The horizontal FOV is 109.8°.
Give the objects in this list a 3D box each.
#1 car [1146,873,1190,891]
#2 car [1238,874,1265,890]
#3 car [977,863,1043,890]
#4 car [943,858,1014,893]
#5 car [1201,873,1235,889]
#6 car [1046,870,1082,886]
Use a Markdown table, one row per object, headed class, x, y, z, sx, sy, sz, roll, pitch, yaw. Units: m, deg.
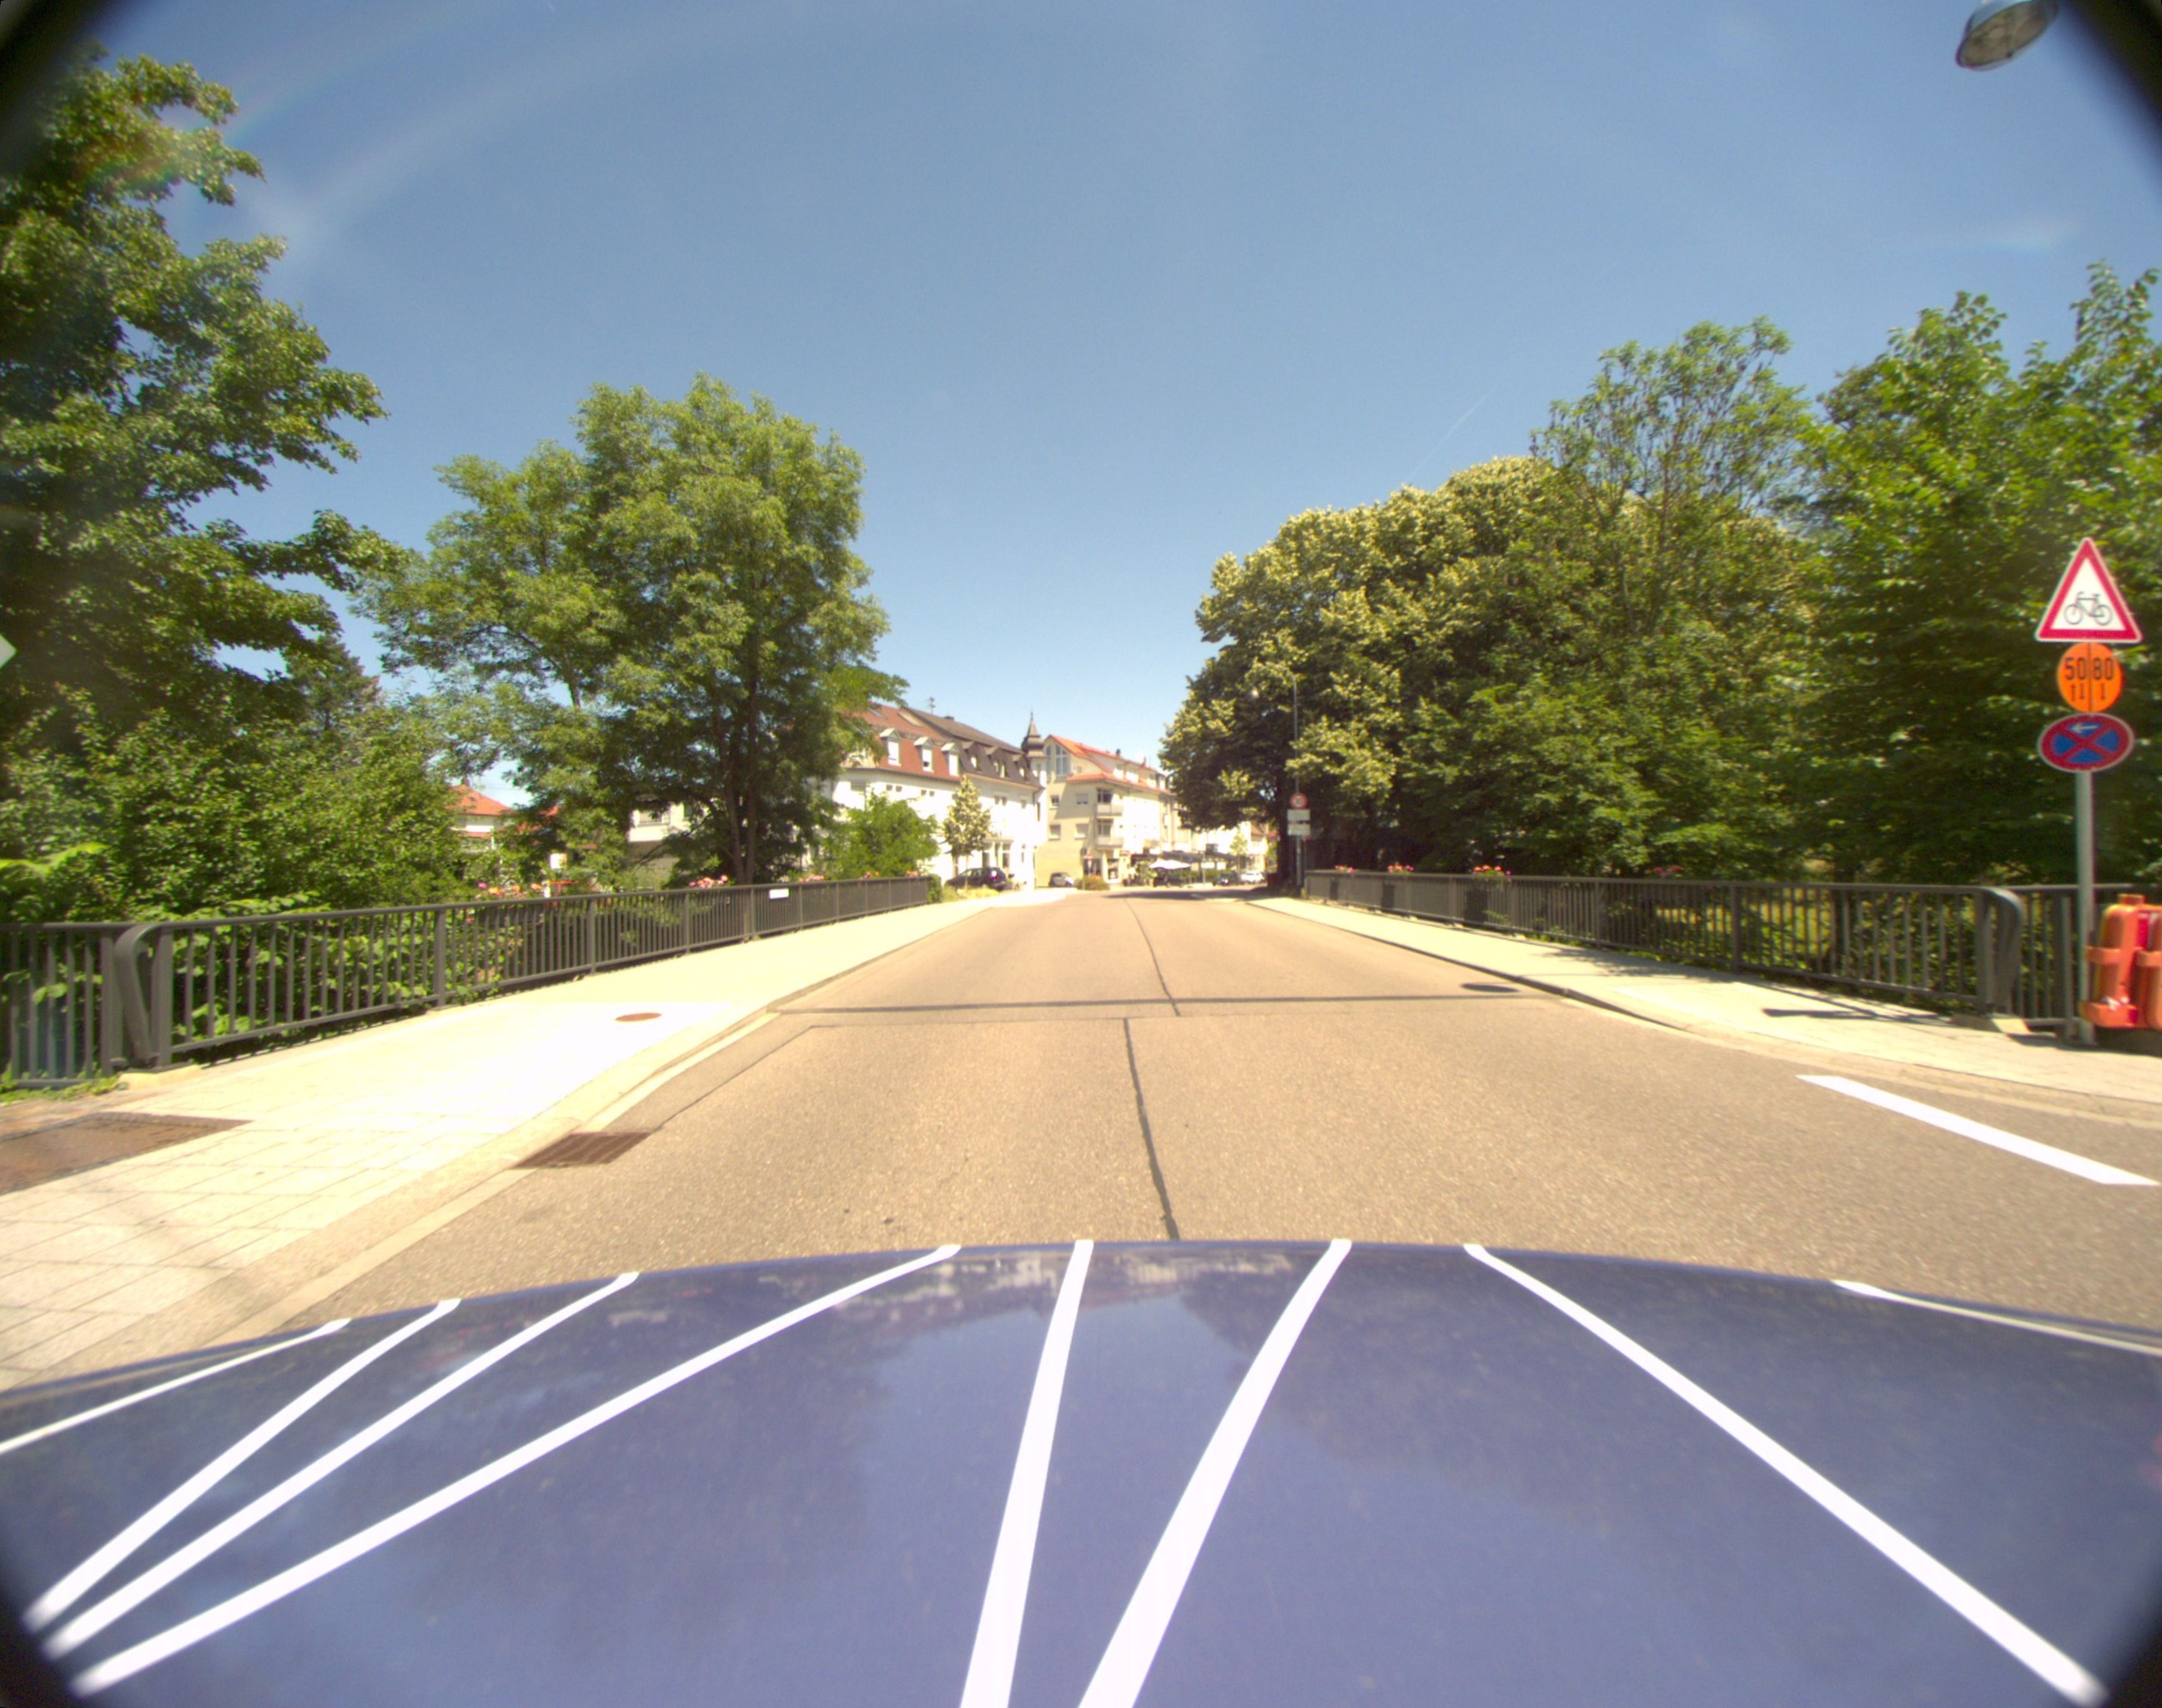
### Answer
| class | x | y | z | sx | sy | sz | roll | pitch | yaw |
| --- | --- | --- | --- | --- | --- | --- | --- | --- | --- |
| car | 8.400 | 2.667 | 73.163 | 4.009 | 1.705 | 1.995 | 1 | -2 | -41 |
| car | 19.788 | 3.250 | 88.207 | 1.994 | 1.674 | 4.008 | 0 | 0 | 30 |
| car | -4.871 | 1.537 | 52.220 | 3.990 | 1.660 | 2.004 | -3 | -1 | 27 |
| car | -6.615 | 1.377 | 49.138 | 3.990 | 2.001 | 2.003 | -3 | -1 | 26 |
| car | 14.666 | 2.871 | 81.683 | 2.001 | 1.705 | 3.995 | 1 | -2 | -16 |
| car | -1.653 | 2.367 | 74.657 | 3.038 | 1.443 | 1.570 | -3 | -1 | 22 |
